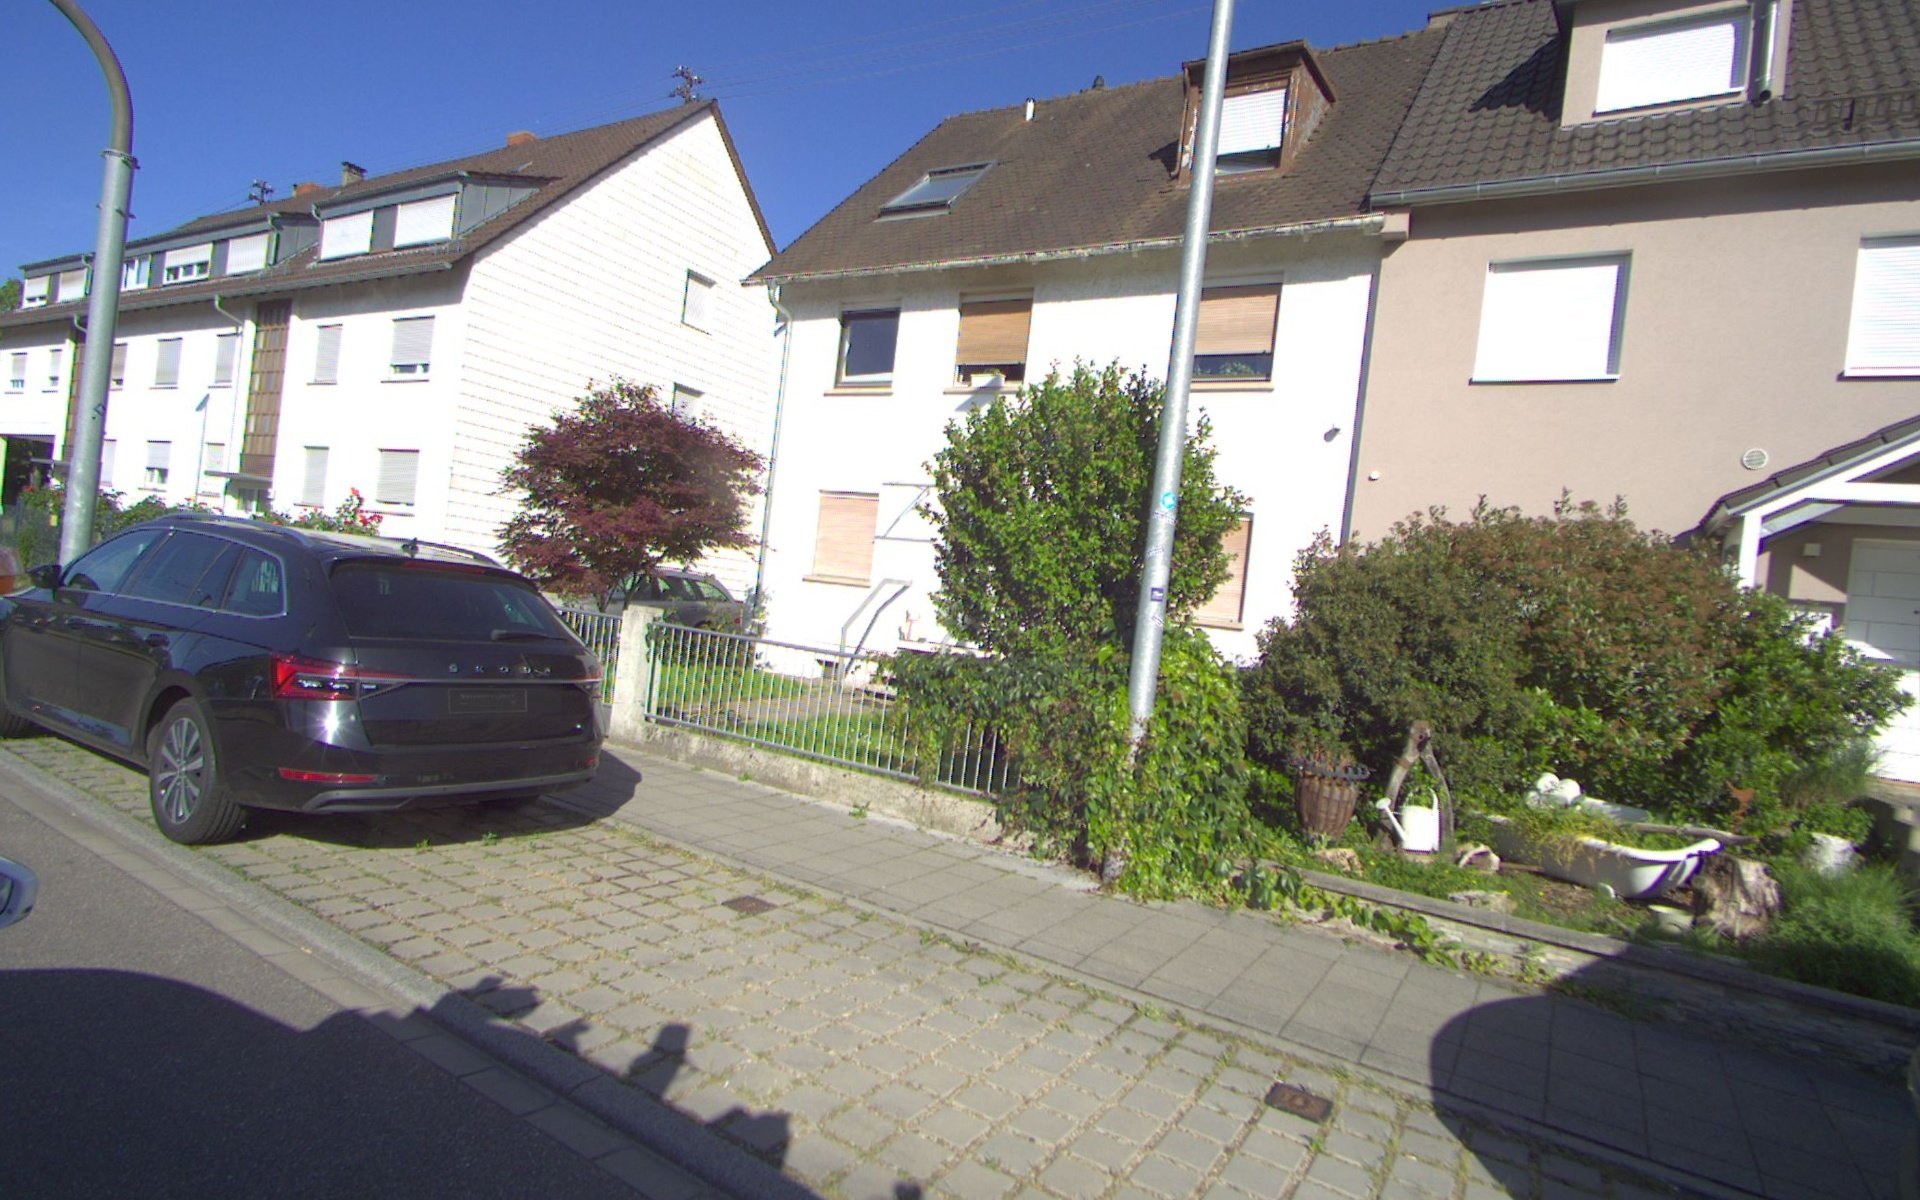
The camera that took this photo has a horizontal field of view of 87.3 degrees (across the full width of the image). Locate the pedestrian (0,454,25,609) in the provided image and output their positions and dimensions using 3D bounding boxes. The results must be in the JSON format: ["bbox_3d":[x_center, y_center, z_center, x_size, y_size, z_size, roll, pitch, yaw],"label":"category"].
[{"bbox_3d":[-12.515,-0.912,12.764,0.748,1.934,0.698,6,-2,41],"label":"pedestrian"}]

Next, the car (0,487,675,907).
[{"bbox_3d":[-4.166,0.253,5.955,5.070,1.513,1.750,6,1,32],"label":"car"}]

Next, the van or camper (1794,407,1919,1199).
[{"bbox_3d":[4.670,0.877,0.447,6.201,2.300,1.995,6,1,32],"label":"van or camper"}]

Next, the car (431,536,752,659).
[{"bbox_3d":[-5.737,0.051,16.343,1.875,1.495,4.719,6,-1,30],"label":"car"}]

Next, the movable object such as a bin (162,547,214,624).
[{"bbox_3d":[-10.034,-0.190,13.072,0.587,0.920,0.287,6,-1,35],"label":"movable object such as a bin"}]
